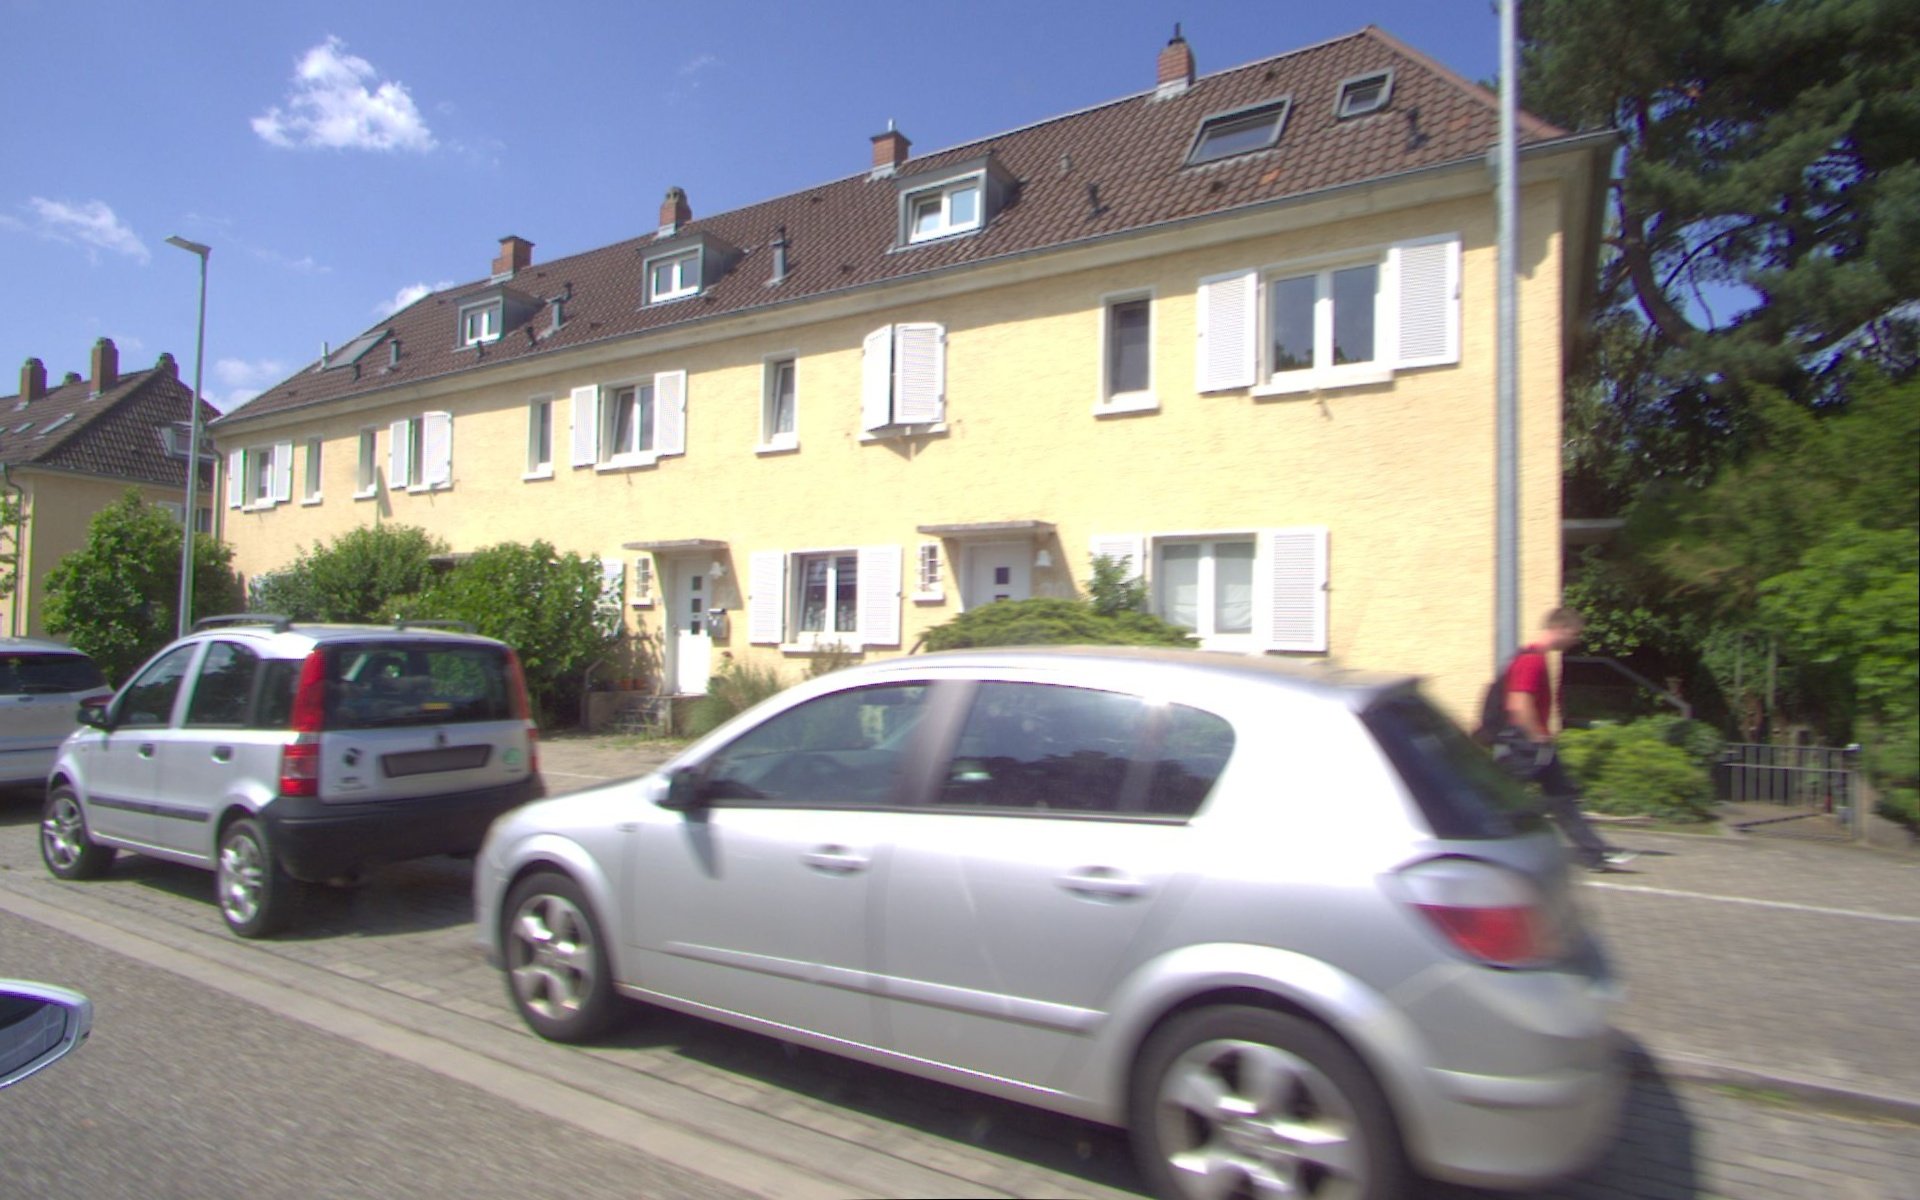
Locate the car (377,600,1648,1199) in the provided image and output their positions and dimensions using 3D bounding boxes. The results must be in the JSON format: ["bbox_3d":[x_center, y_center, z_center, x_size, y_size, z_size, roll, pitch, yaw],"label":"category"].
[{"bbox_3d":[-0.088,0.813,3.693,4.191,1.523,1.706,0,-2,30],"label":"car"}]

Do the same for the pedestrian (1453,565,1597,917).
[{"bbox_3d":[3.591,0.841,6.360,0.750,2.039,0.772,0,-2,32],"label":"pedestrian"}]

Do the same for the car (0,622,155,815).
[{"bbox_3d":[-9.343,0.951,9.073,4.320,1.516,1.748,0,-2,30],"label":"car"}]

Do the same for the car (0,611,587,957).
[{"bbox_3d":[-4.255,0.886,6.235,3.753,1.569,1.626,0,-2,31],"label":"car"}]
